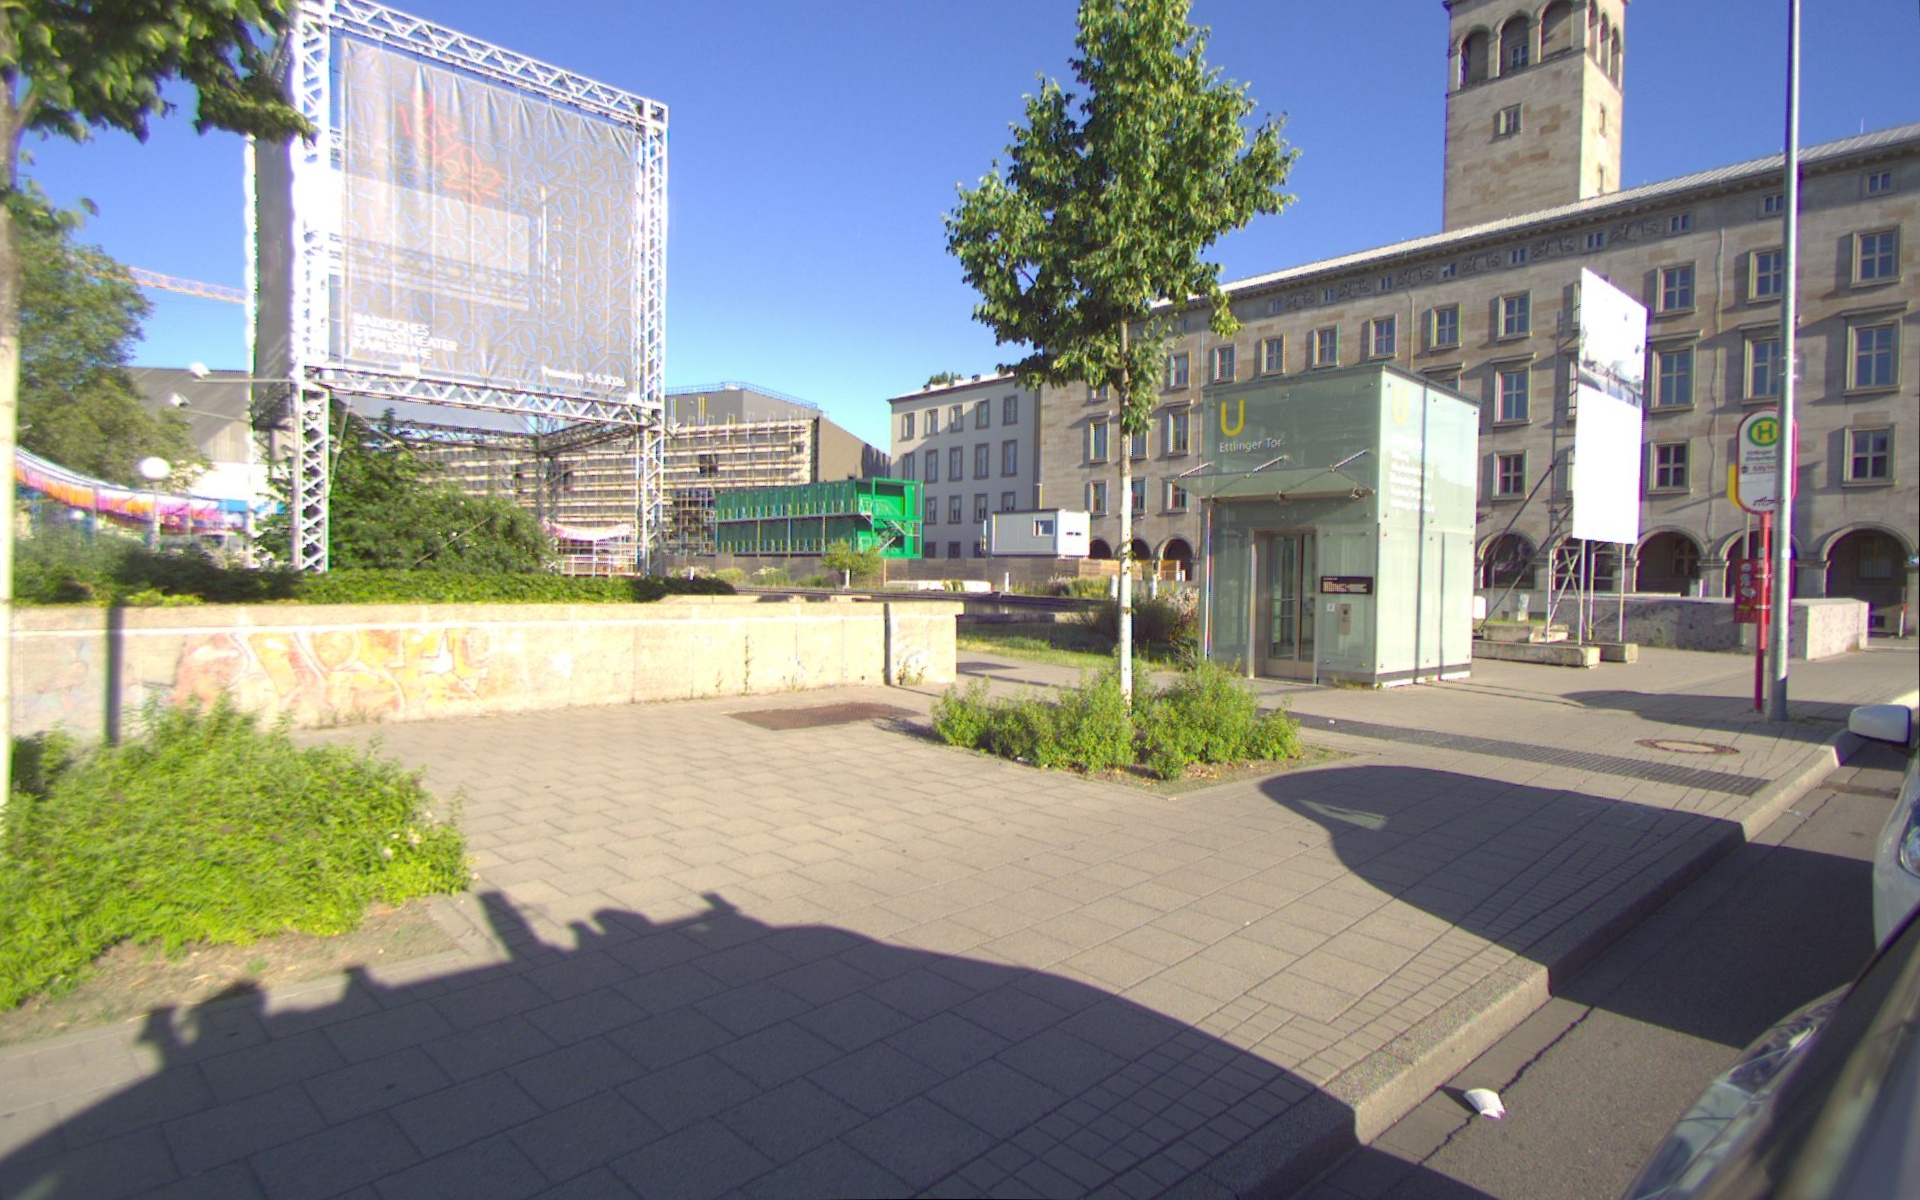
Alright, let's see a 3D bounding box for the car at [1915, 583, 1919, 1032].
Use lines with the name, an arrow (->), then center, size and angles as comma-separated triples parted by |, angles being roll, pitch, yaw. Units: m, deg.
car -> 5.032, 0.706, 3.995 | 3.541, 1.504, 1.495 | 0, 0, -41
